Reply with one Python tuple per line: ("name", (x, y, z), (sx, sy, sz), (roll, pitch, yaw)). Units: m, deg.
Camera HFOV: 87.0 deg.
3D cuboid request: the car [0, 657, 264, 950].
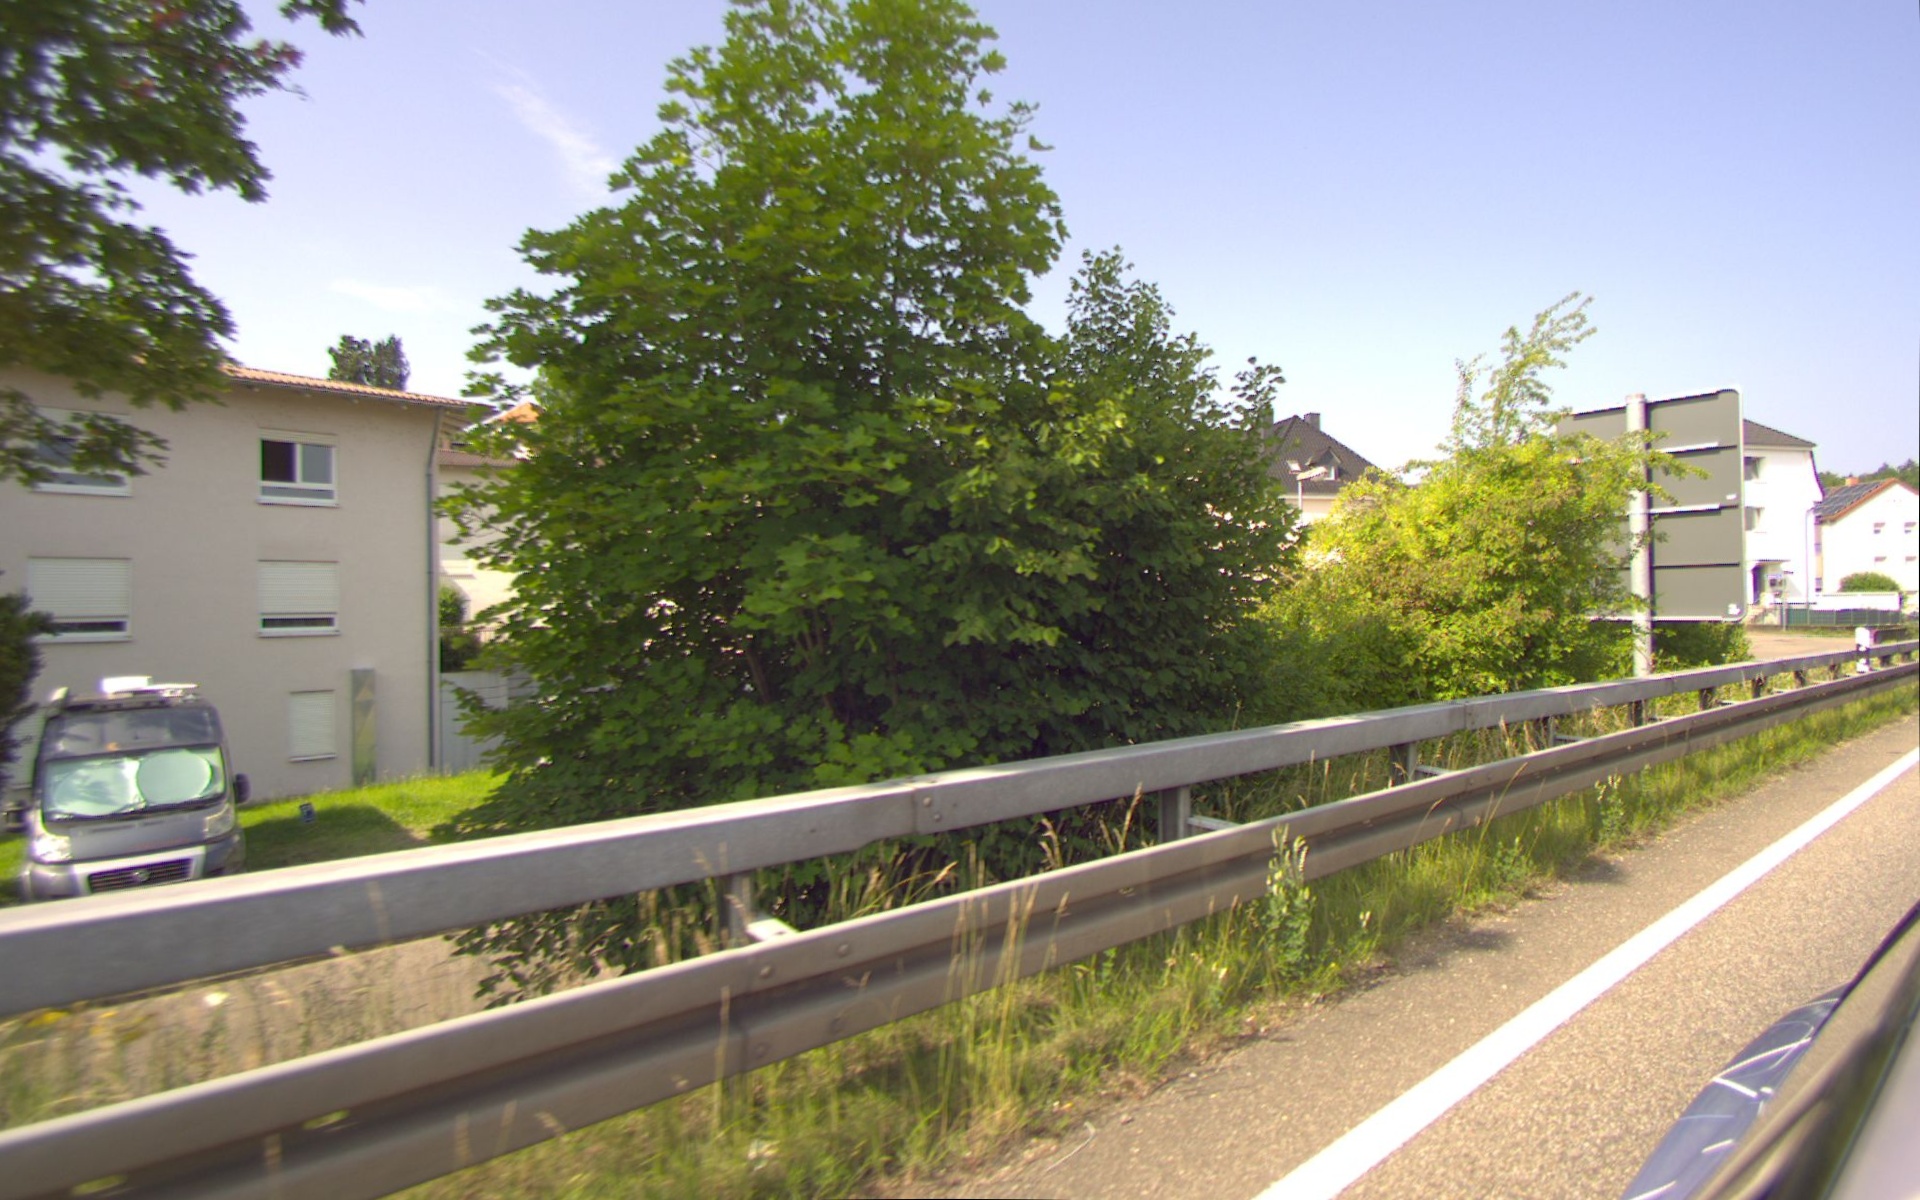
("car", (-11.222, 2.320, 13.754), (2.273, 2.720, 6.084), (-4, 2, -39))
